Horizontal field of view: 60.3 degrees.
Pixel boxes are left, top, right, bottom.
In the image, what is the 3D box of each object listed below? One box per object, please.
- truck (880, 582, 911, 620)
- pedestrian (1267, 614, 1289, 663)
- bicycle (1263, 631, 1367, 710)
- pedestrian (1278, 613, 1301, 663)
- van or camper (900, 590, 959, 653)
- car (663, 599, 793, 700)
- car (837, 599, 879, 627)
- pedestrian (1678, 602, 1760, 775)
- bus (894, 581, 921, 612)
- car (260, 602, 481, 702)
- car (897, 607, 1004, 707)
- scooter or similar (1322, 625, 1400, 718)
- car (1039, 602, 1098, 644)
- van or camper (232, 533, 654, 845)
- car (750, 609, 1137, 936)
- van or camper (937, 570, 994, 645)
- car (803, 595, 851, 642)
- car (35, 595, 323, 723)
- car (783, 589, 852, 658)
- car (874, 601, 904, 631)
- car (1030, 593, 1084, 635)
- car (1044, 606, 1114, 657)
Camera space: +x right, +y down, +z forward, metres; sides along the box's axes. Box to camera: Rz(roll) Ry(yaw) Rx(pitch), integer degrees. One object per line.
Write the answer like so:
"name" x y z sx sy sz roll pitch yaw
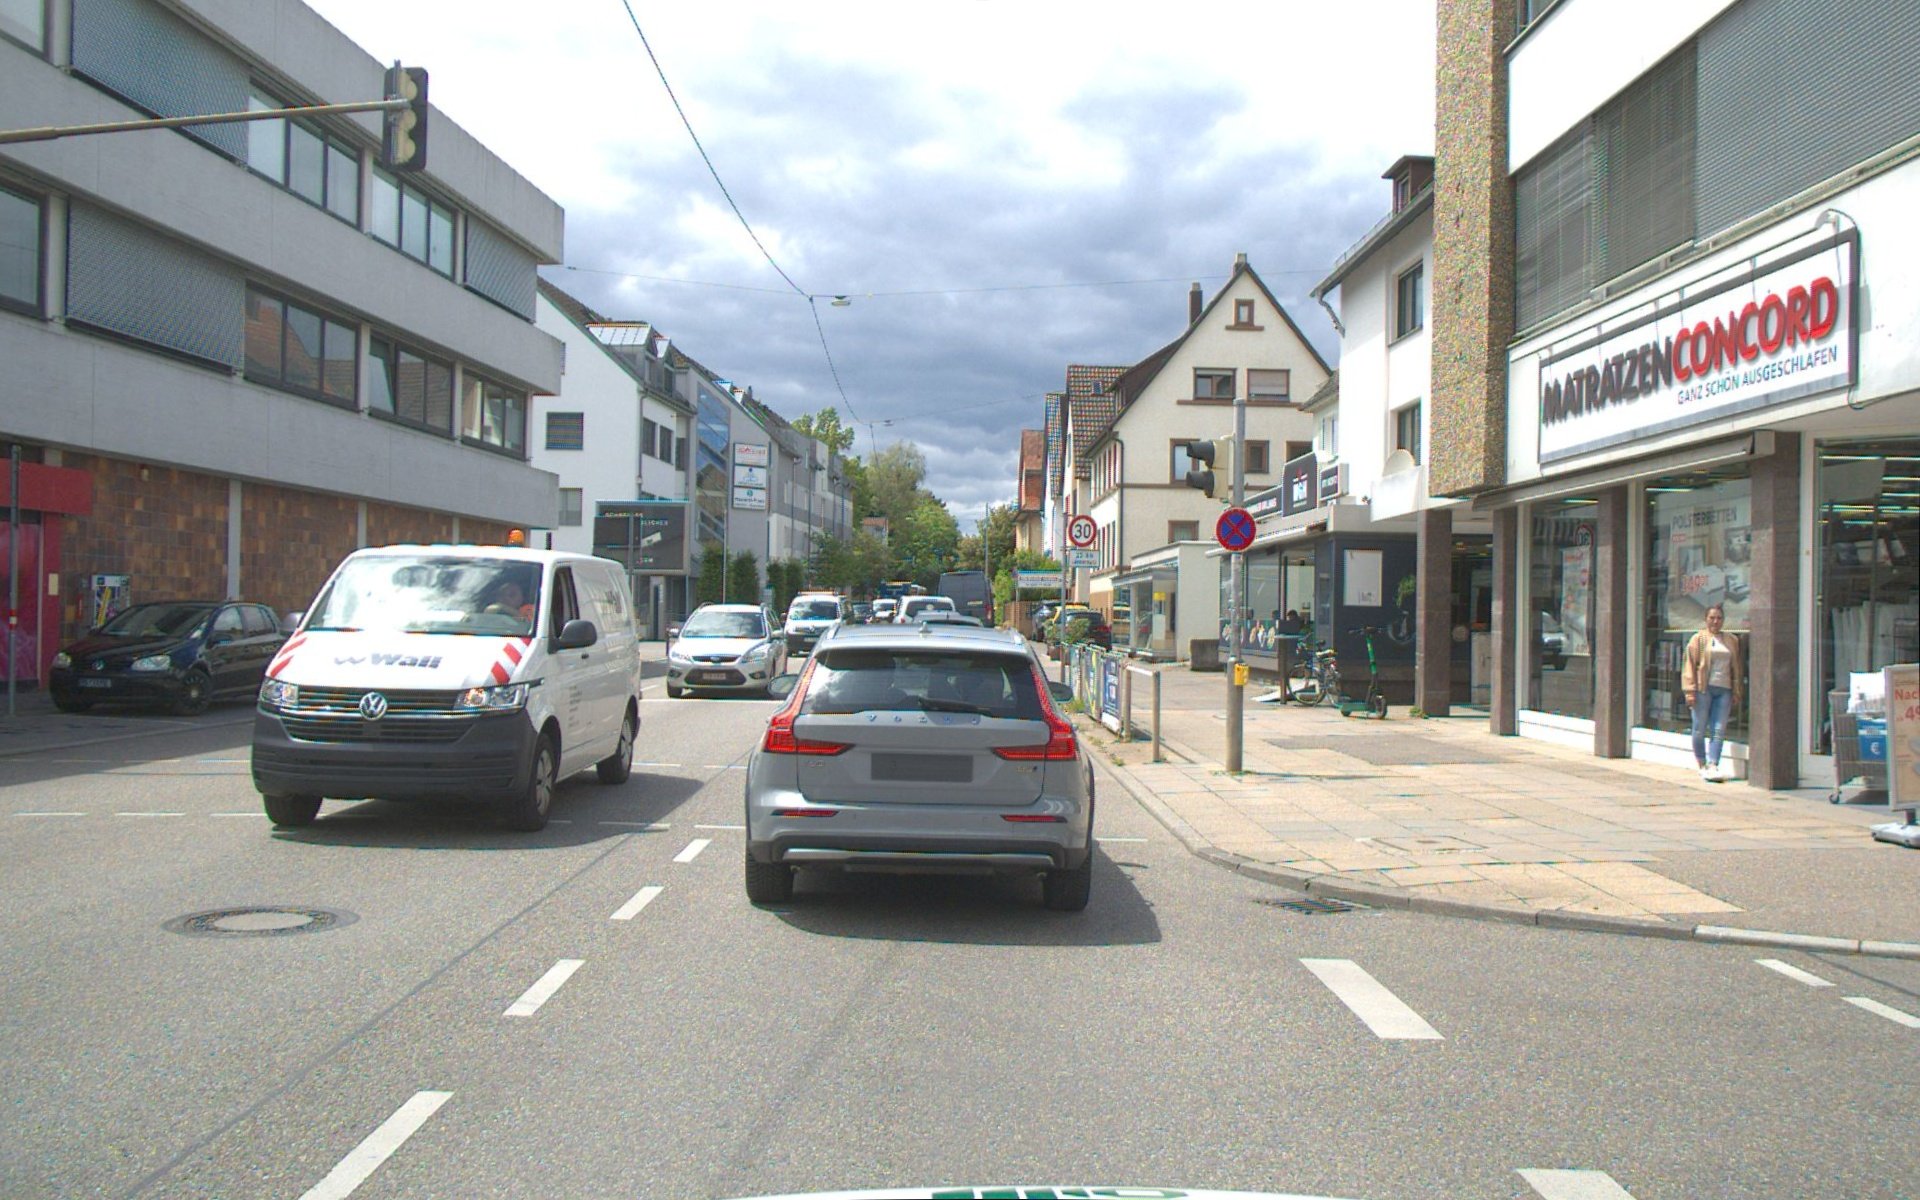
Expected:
"truck" -5.122 0.044 131.868 2.229 2.937 7.078 0 0 0
"pedestrian" 7.014 0.842 36.463 0.406 1.070 0.367 0 0 -3
"bicycle" 5.678 1.103 26.606 0.546 1.164 2.288 0 0 -18
"pedestrian" 7.062 0.813 35.413 0.406 1.070 0.367 0 0 -3
"van or camper" -0.983 0.726 52.725 1.782 1.867 3.998 1 -2 -2
"car" -3.907 0.799 28.485 1.634 1.581 4.214 1 0 0
"car" -5.400 0.689 87.704 1.725 1.451 4.002 0 0 4
"pedestrian" 6.688 0.774 14.590 0.493 1.485 0.500 -2 -1 12
"bus" -4.696 -0.275 148.490 2.229 2.715 7.428 0 0 0
"car" -9.745 0.807 27.738 1.864 1.468 4.445 2 0 3
"car" -0.193 0.902 27.541 1.617 1.508 3.606 1 -1 -2
"scooter or similar" 5.717 1.008 23.629 0.336 1.275 1.235 -1 -1 -27
"car" 3.950 0.858 60.819 1.844 1.440 3.970 1 -2 0
"van or camper" -3.676 0.534 12.721 1.827 1.931 4.691 1 1 -1
"car" -0.129 0.828 9.777 1.799 1.512 3.998 1 0 -2
"van or camper" 0.187 0.279 63.258 2.080 2.733 4.780 0 0 0
"car" -5.671 0.787 71.023 1.801 1.951 4.529 0 -1 -2
"car" -10.359 0.740 22.307 1.748 1.490 4.088 2 0 3
"car" -4.276 0.714 50.126 1.801 1.951 4.154 1 -1 -2
"car" -4.562 1.069 107.054 1.761 1.848 3.999 1 -2 0
"car" 3.796 0.583 65.192 1.844 1.526 3.970 1 -2 0
"car" 3.678 0.989 51.611 1.676 1.490 3.997 2 -2 -3
